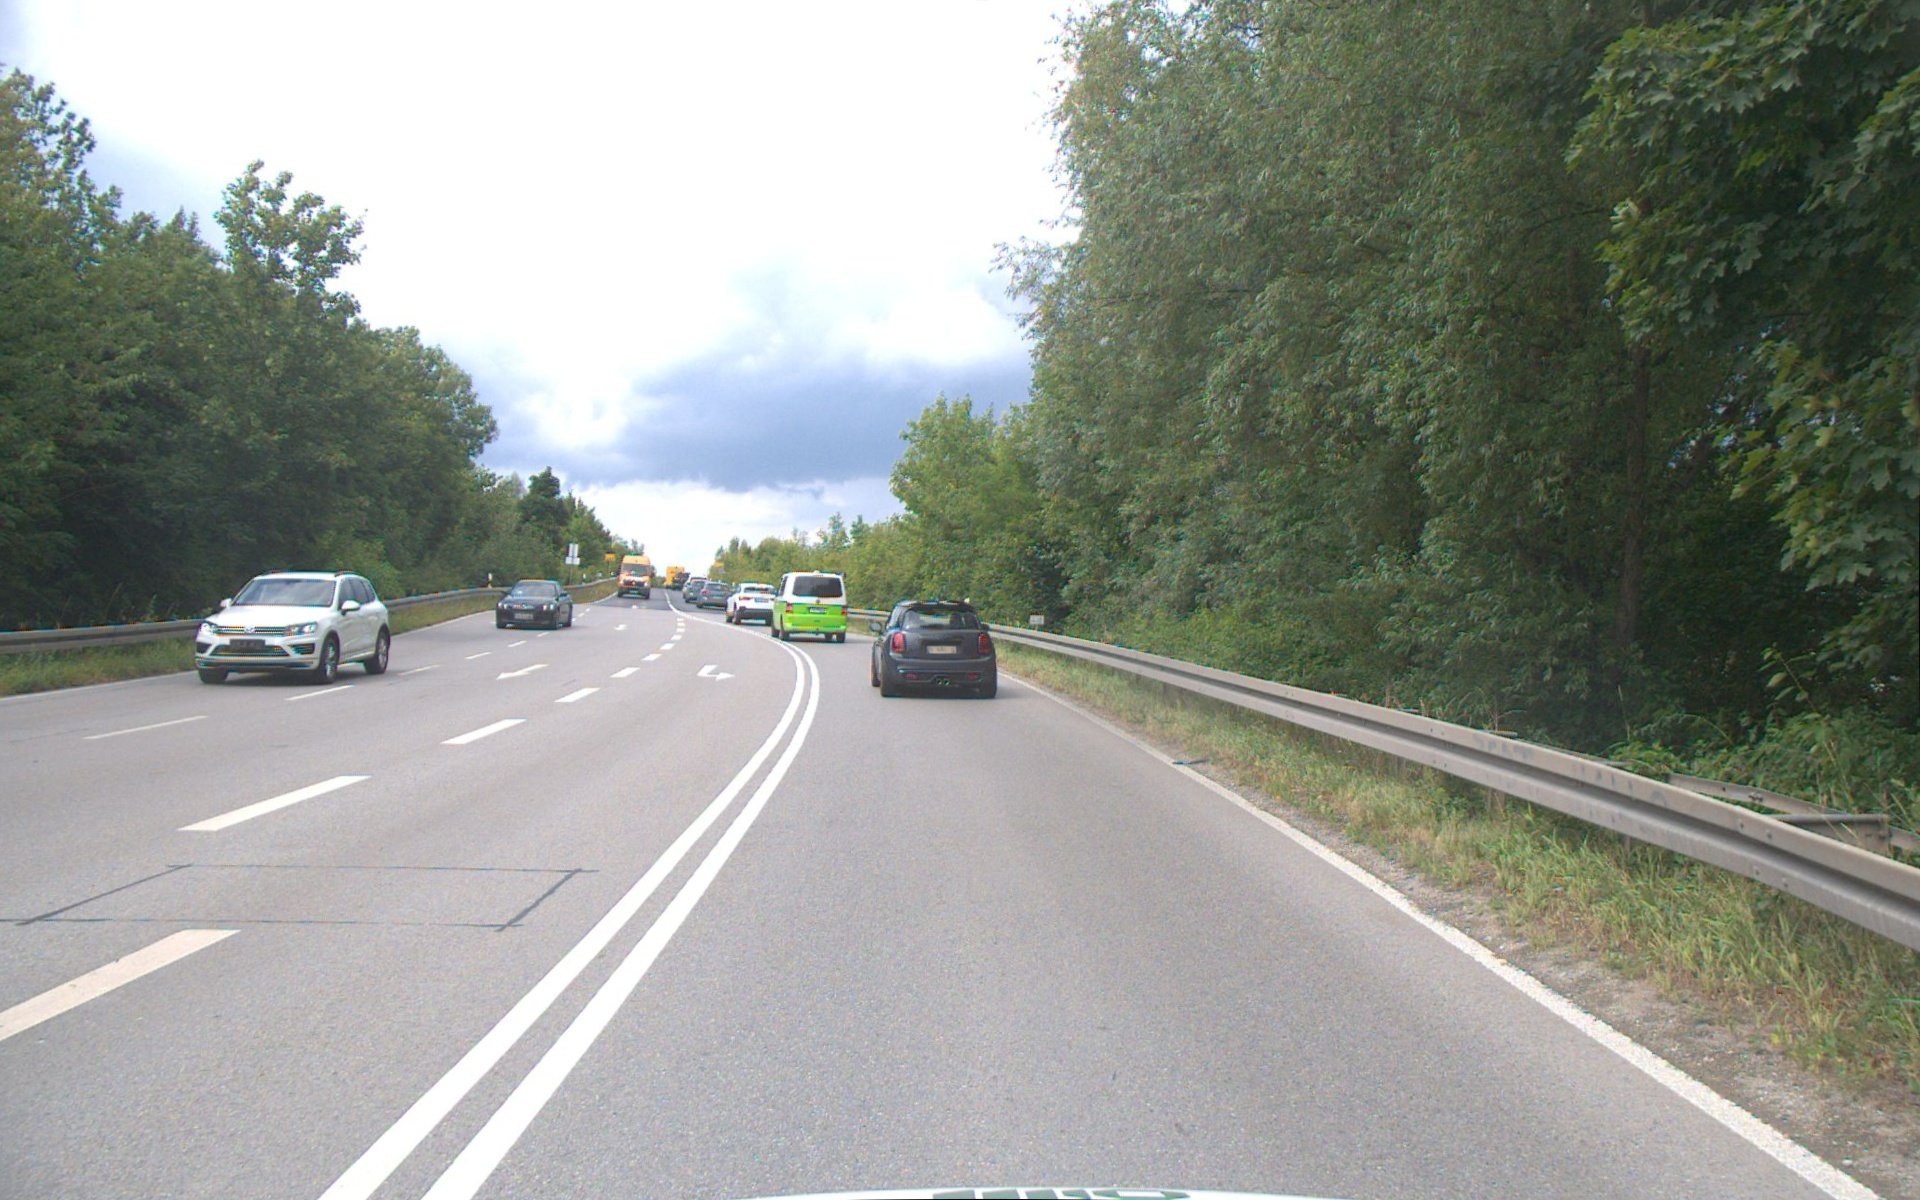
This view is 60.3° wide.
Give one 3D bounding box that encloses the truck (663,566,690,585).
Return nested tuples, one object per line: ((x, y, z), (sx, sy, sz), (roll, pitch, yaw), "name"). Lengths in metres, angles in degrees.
((-36.244, -3.132, 211.848), (2.855, 2.413, 10.435), (1, 1, -7), "truck")

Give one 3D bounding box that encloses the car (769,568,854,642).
((-4.390, 0.125, 48.430), (1.987, 2.048, 3.988), (1, 1, -12), "car")

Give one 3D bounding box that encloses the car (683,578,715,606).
((-16.298, -0.490, 103.149), (1.845, 1.646, 3.990), (1, 0, -10), "car")

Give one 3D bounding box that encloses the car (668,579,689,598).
((-27.262, -1.104, 160.131), (1.957, 1.829, 3.990), (1, 0, -10), "car")

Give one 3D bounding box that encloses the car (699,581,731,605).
((-13.152, -0.353, 88.734), (1.663, 1.243, 3.992), (0, 0, -8), "car")

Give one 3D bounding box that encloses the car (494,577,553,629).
((-13.512, 0.069, 51.305), (1.689, 1.524, 4.531), (0, 1, -14), "car")

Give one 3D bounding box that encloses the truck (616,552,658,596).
((-20.400, -1.646, 104.590), (2.273, 2.646, 6.012), (1, 1, -9), "truck")

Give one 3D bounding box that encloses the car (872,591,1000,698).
((-0.446, 0.625, 25.624), (1.698, 1.481, 3.996), (1, 0, -5), "car")

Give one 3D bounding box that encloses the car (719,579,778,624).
((-8.186, 0.042, 63.659), (1.953, 1.646, 4.142), (1, 1, -12), "car")

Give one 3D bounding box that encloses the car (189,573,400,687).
((-10.607, 0.416, 26.755), (1.821, 1.672, 4.732), (0, 1, -5), "car")
